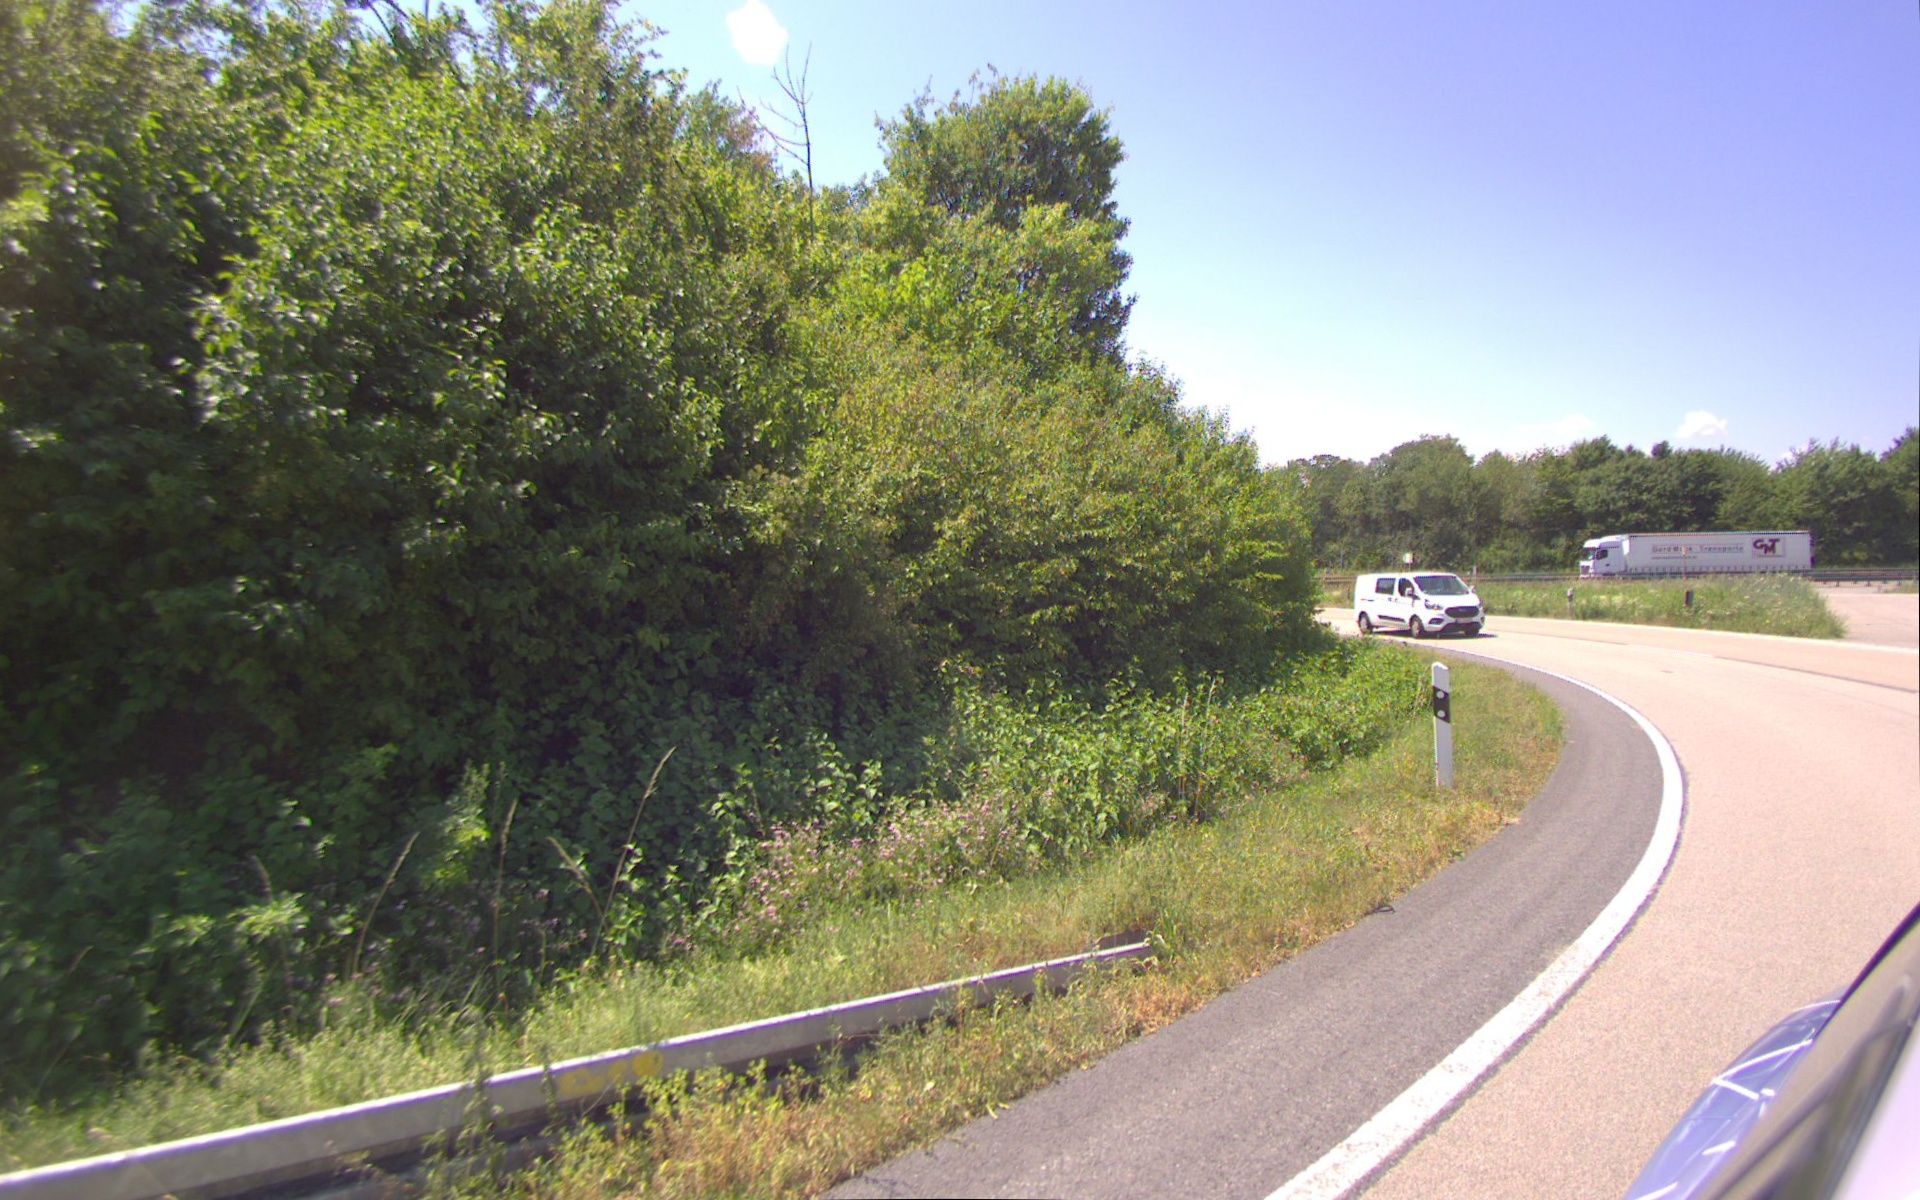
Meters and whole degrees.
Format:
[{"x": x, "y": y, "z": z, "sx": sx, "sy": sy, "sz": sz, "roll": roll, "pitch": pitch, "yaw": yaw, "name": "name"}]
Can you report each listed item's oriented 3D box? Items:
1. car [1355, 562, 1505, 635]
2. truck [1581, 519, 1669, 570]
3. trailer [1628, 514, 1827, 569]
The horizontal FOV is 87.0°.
[{"x": 14.819, "y": -0.106, "z": 32.297, "sx": 2.023, "sy": 2.038, "sz": 5.047, "roll": -2, "pitch": 1, "yaw": -5, "name": "car"}, {"x": 55.413, "y": -4.582, "z": 84.431, "sx": 5.330, "sy": 3.989, "sz": 2.913, "roll": -1, "pitch": 1, "yaw": 10, "name": "truck"}, {"x": 62.745, "y": -4.742, "z": 83.073, "sx": 13.061, "sy": 3.989, "sz": 2.913, "roll": -1, "pitch": 1, "yaw": 11, "name": "trailer"}]
